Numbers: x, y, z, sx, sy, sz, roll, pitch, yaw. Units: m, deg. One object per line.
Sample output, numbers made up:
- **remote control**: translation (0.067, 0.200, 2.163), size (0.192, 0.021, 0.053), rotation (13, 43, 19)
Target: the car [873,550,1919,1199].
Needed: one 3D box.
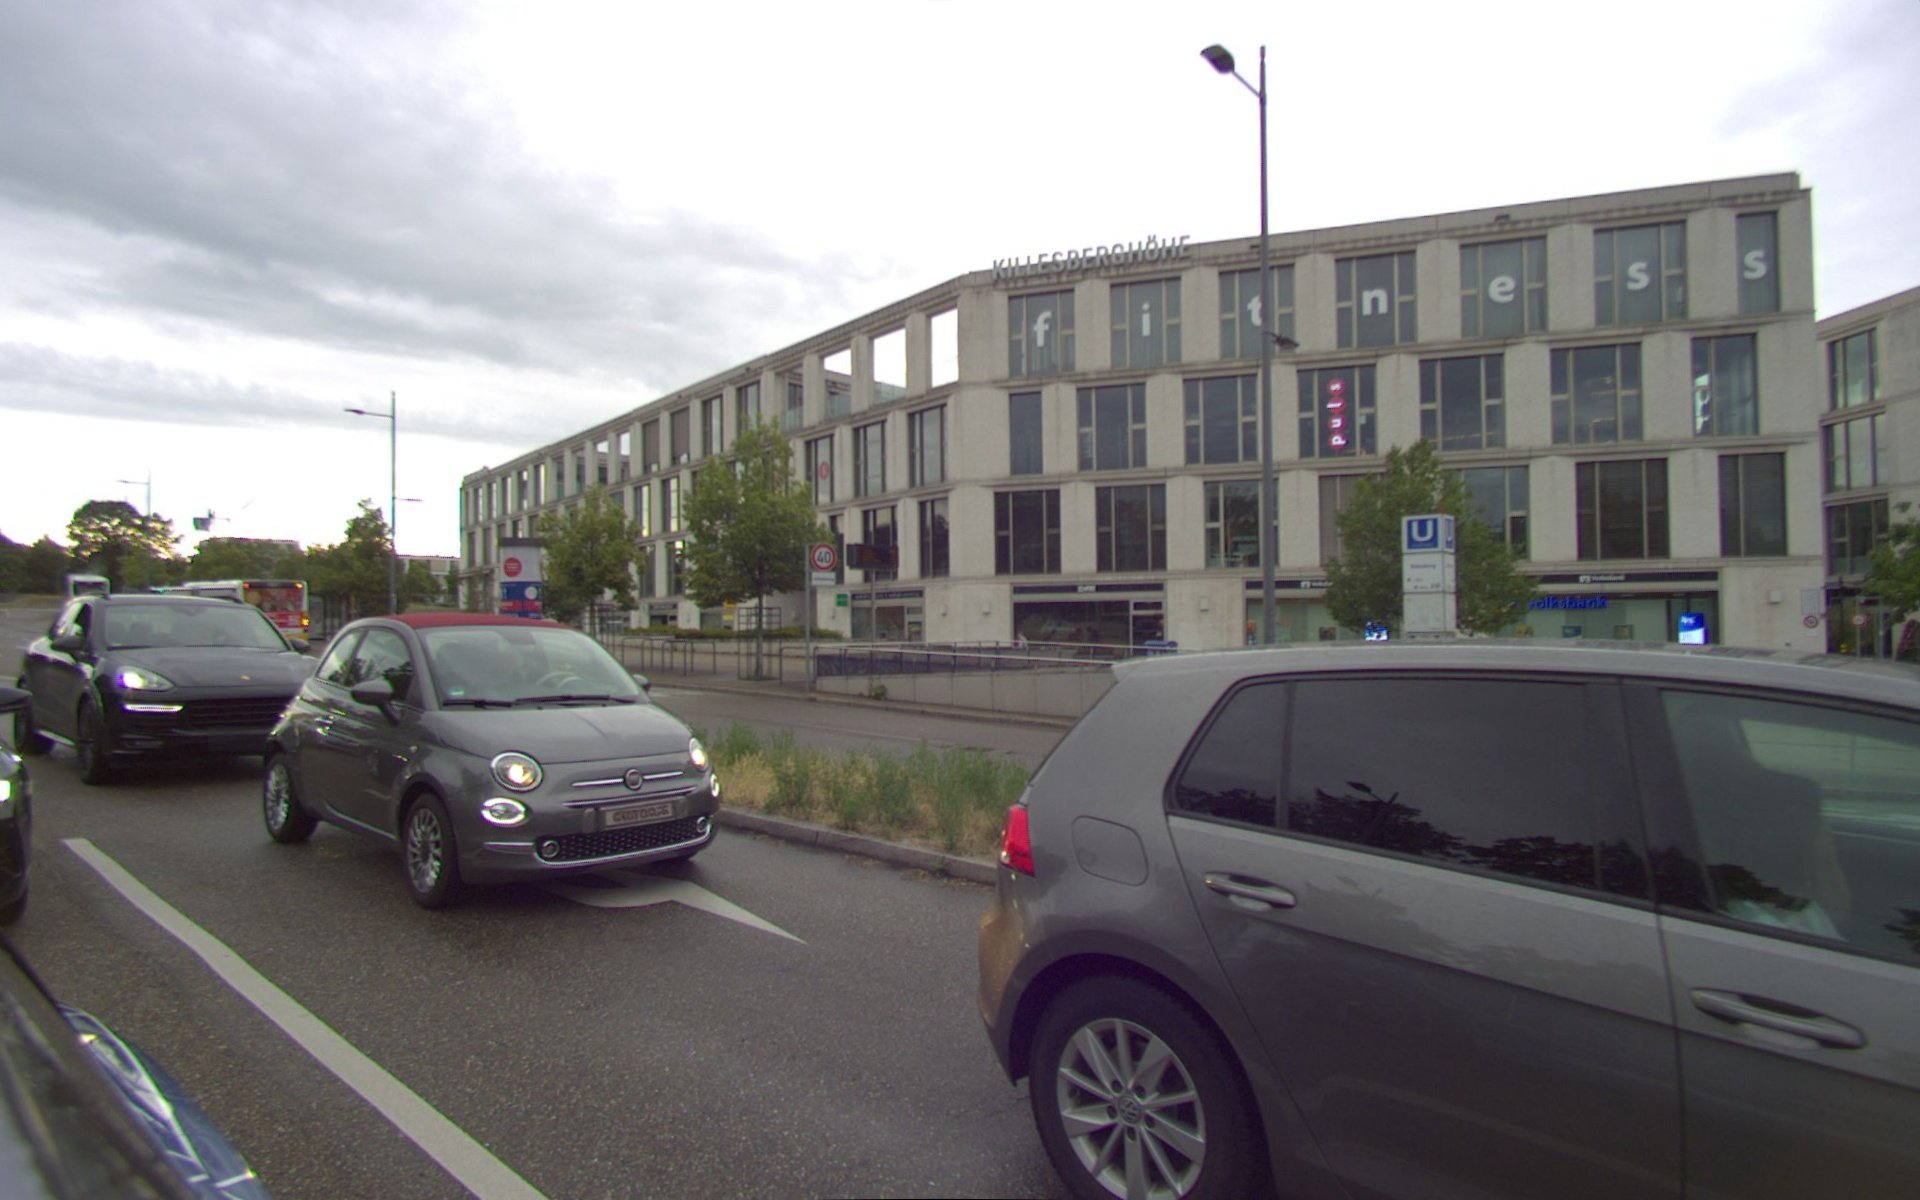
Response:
- **car**: translation (1.988, 0.692, 2.018), size (4.374, 1.492, 1.797), rotation (-1, -2, 41)

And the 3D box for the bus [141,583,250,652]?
- **bus**: translation (-38.725, 0.819, 51.086), size (9.912, 3.205, 2.658), rotation (0, 0, 43)

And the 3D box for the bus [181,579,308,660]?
- **bus**: translation (-31.713, 0.790, 44.662), size (9.207, 3.236, 2.722), rotation (0, 0, 43)

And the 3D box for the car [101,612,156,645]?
- **car**: translation (-47.816, 1.613, 58.190), size (3.998, 1.800, 1.843), rotation (0, 0, 41)

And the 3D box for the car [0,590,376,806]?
- **car**: translation (-7.789, 0.795, 10.043), size (4.613, 1.671, 1.910), rotation (-1, -2, 39)

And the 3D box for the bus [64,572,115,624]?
- **bus**: translation (-76.916, -0.111, 89.663), size (2.717, 4.185, 19.383), rotation (0, 0, -39)

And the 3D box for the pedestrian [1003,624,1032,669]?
- **pedestrian**: translation (2.097, 1.687, 37.064), size (0.907, 1.617, 0.759), rotation (0, -1, 19)

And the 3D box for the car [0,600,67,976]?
- **car**: translation (-6.038, 0.754, 4.992), size (4.766, 1.476, 1.876), rotation (0, 0, 41)

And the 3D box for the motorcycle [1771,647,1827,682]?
- **motorcycle**: translation (19.809, 1.517, 23.919), size (0.517, 0.746, 1.098), rotation (0, 0, 9)

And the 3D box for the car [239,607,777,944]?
- **car**: translation (-2.910, 0.810, 6.244), size (3.502, 1.492, 1.611), rotation (-1, -2, 39)
